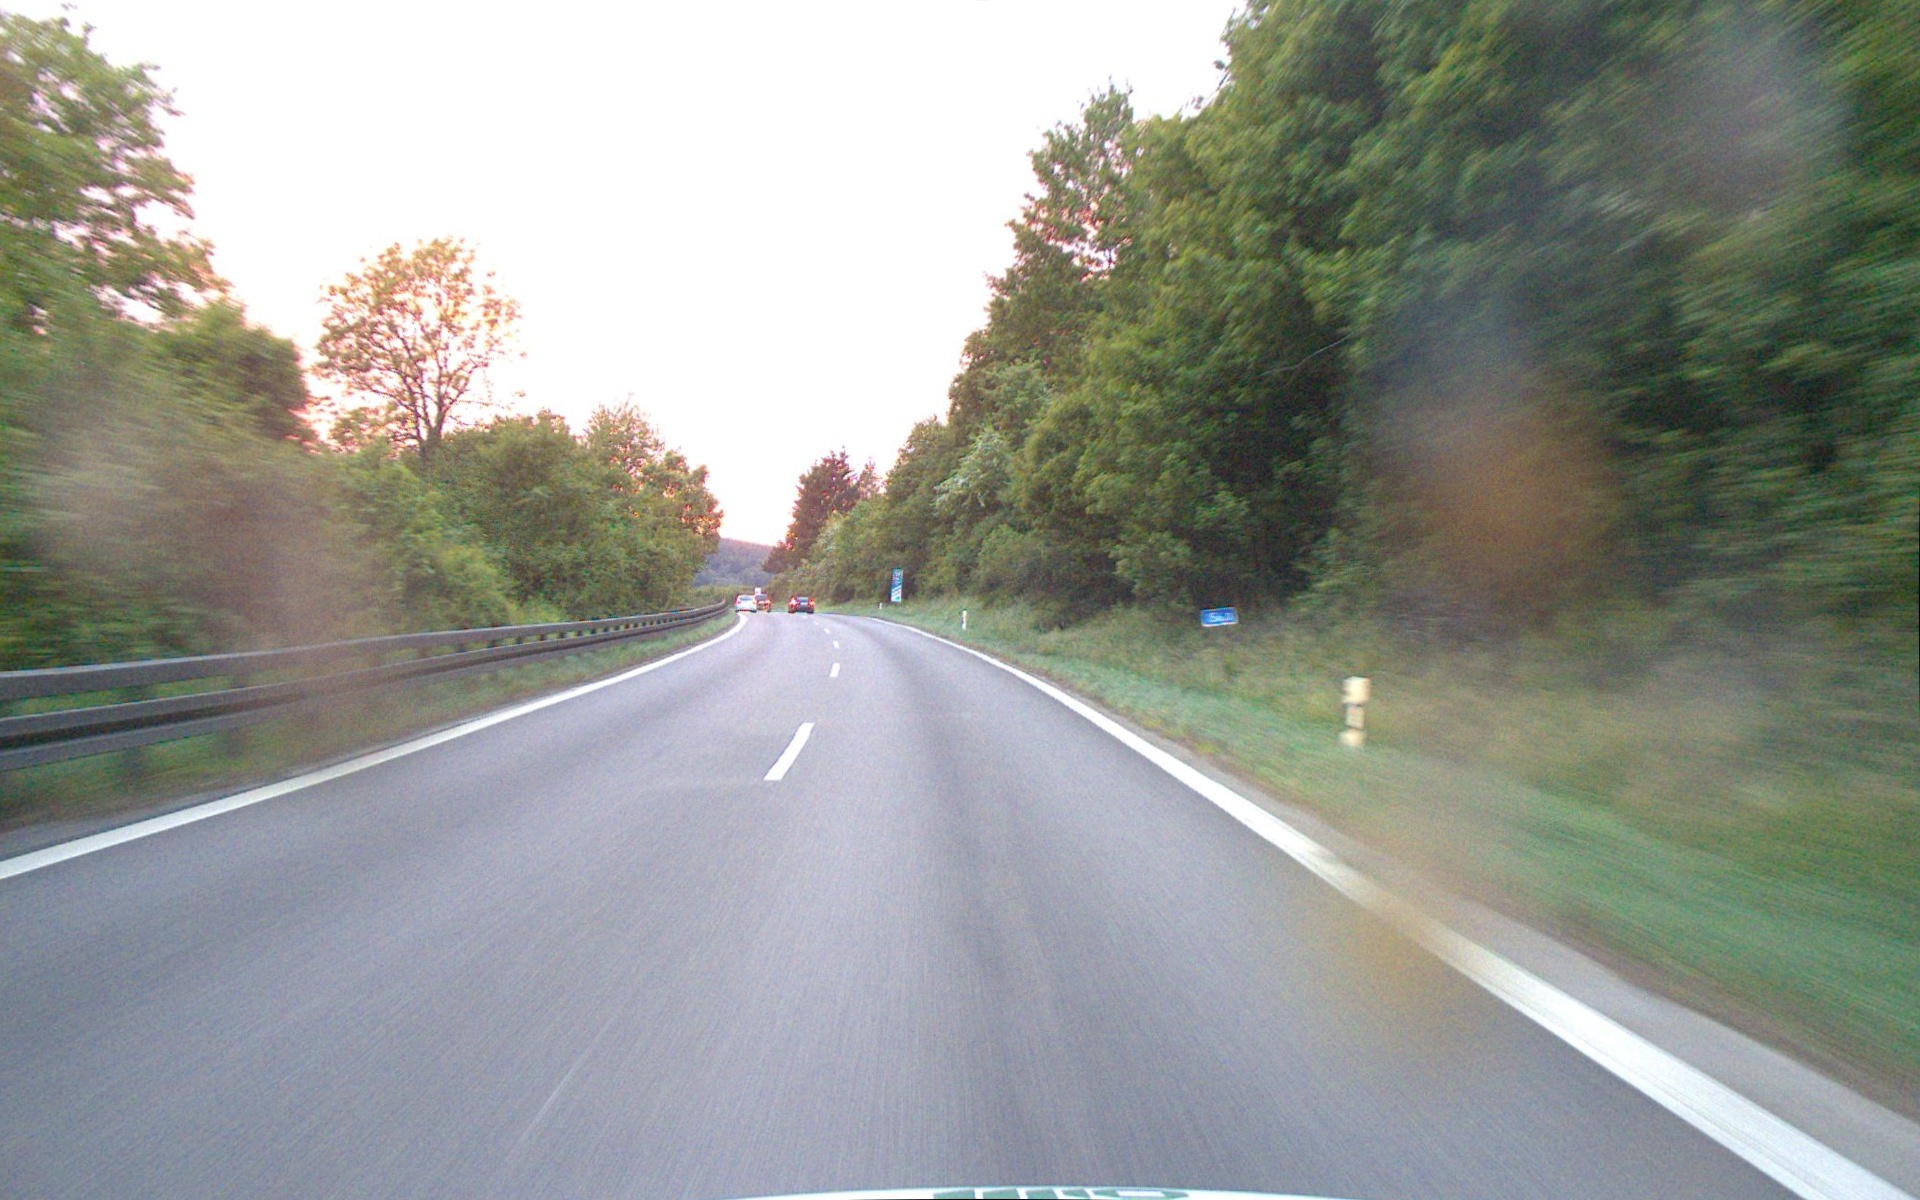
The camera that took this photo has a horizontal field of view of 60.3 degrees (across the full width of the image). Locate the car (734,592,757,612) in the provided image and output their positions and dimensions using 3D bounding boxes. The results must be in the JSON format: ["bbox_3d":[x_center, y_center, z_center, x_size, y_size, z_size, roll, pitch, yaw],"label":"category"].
[{"bbox_3d":[-18.527,0.207,142.976,1.685,1.528,3.995,2,-2,-5],"label":"car"}]

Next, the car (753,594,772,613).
[{"bbox_3d":[-18.427,0.334,154.282,1.685,1.663,3.994,-2,-1,-7],"label":"car"}]

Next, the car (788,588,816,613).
[{"bbox_3d":[-12.980,0.068,136.033,1.957,1.675,3.990,4,-4,-9],"label":"car"}]
